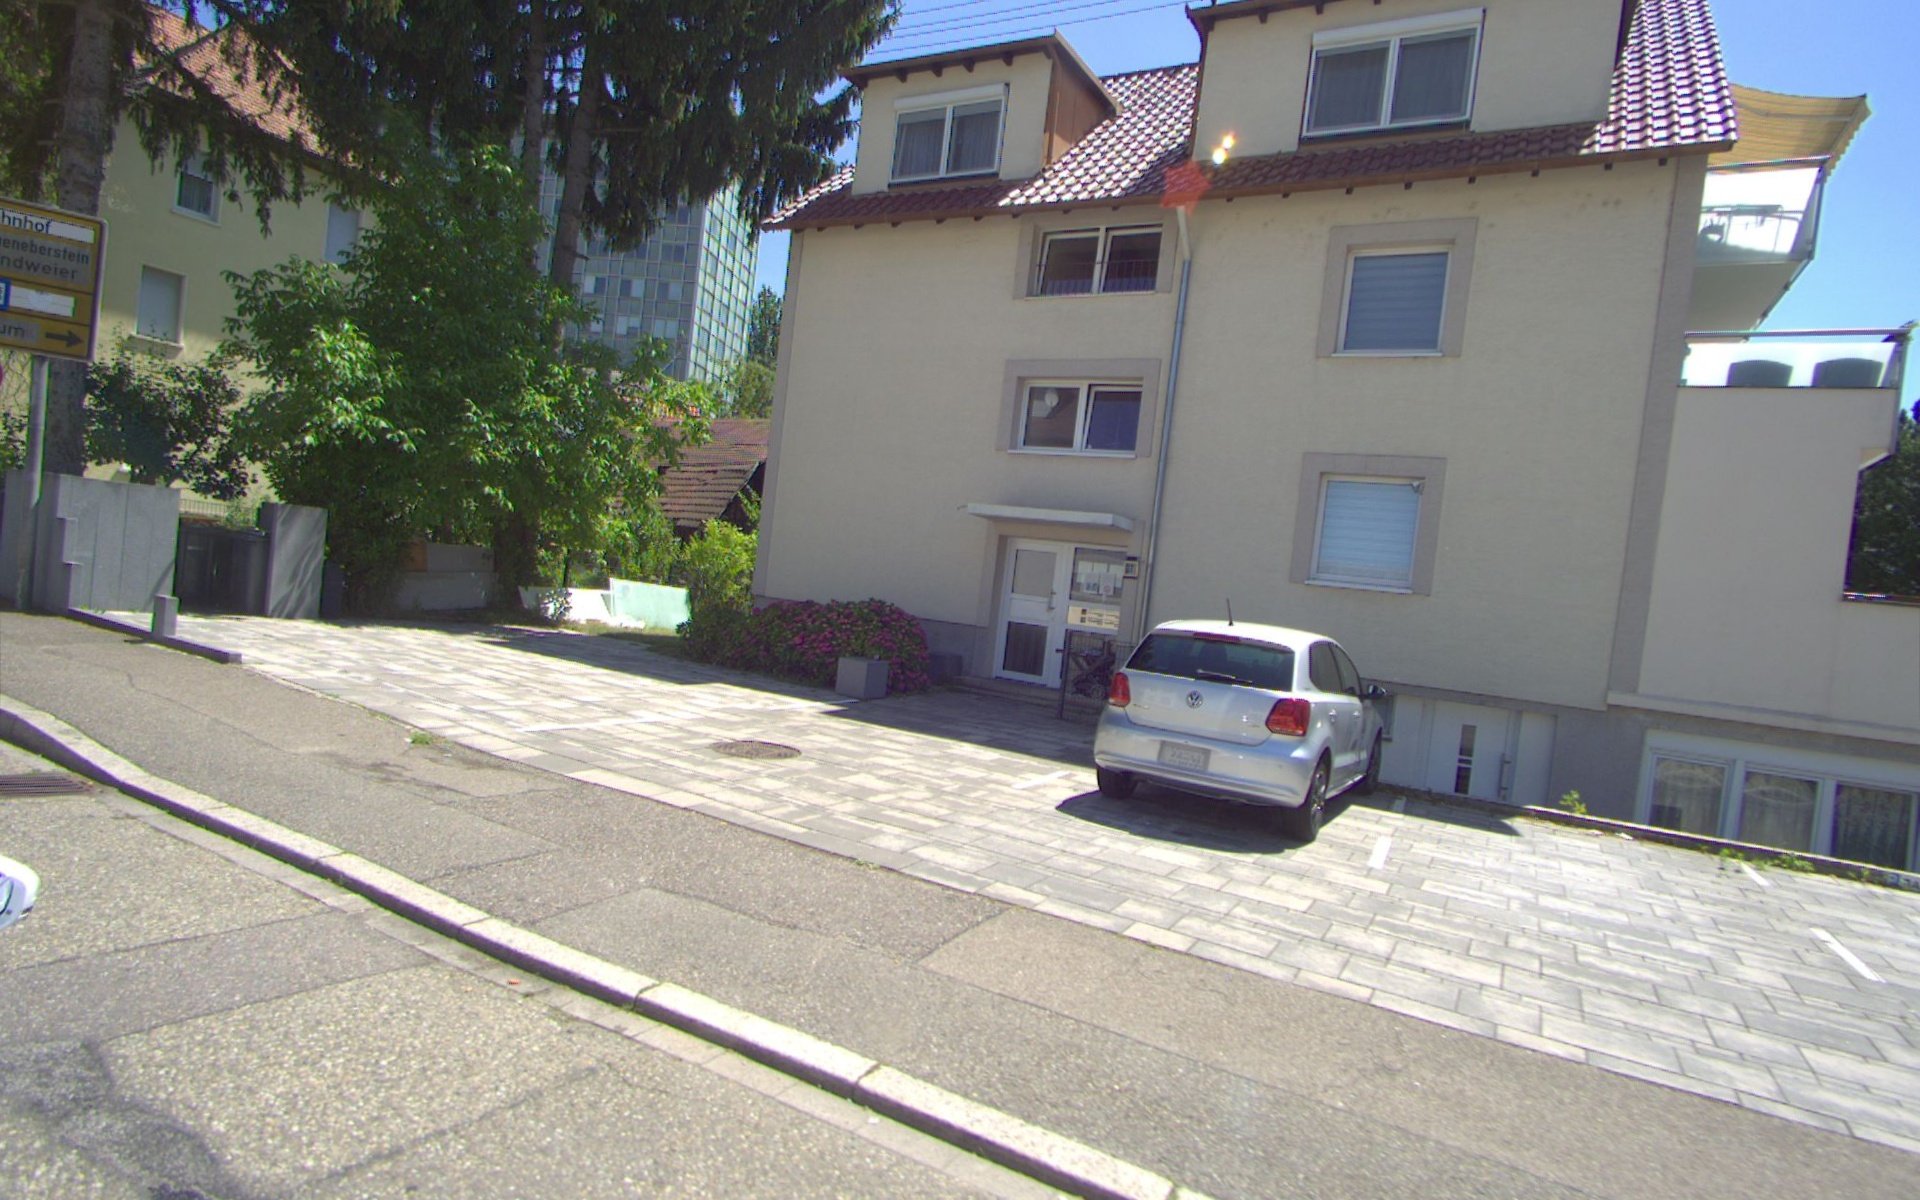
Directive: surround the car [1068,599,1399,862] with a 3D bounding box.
[{"bbox_3d":[2.489,0.979,8.462,1.747,1.548,3.626,6,-1,29],"label":"car"}]
